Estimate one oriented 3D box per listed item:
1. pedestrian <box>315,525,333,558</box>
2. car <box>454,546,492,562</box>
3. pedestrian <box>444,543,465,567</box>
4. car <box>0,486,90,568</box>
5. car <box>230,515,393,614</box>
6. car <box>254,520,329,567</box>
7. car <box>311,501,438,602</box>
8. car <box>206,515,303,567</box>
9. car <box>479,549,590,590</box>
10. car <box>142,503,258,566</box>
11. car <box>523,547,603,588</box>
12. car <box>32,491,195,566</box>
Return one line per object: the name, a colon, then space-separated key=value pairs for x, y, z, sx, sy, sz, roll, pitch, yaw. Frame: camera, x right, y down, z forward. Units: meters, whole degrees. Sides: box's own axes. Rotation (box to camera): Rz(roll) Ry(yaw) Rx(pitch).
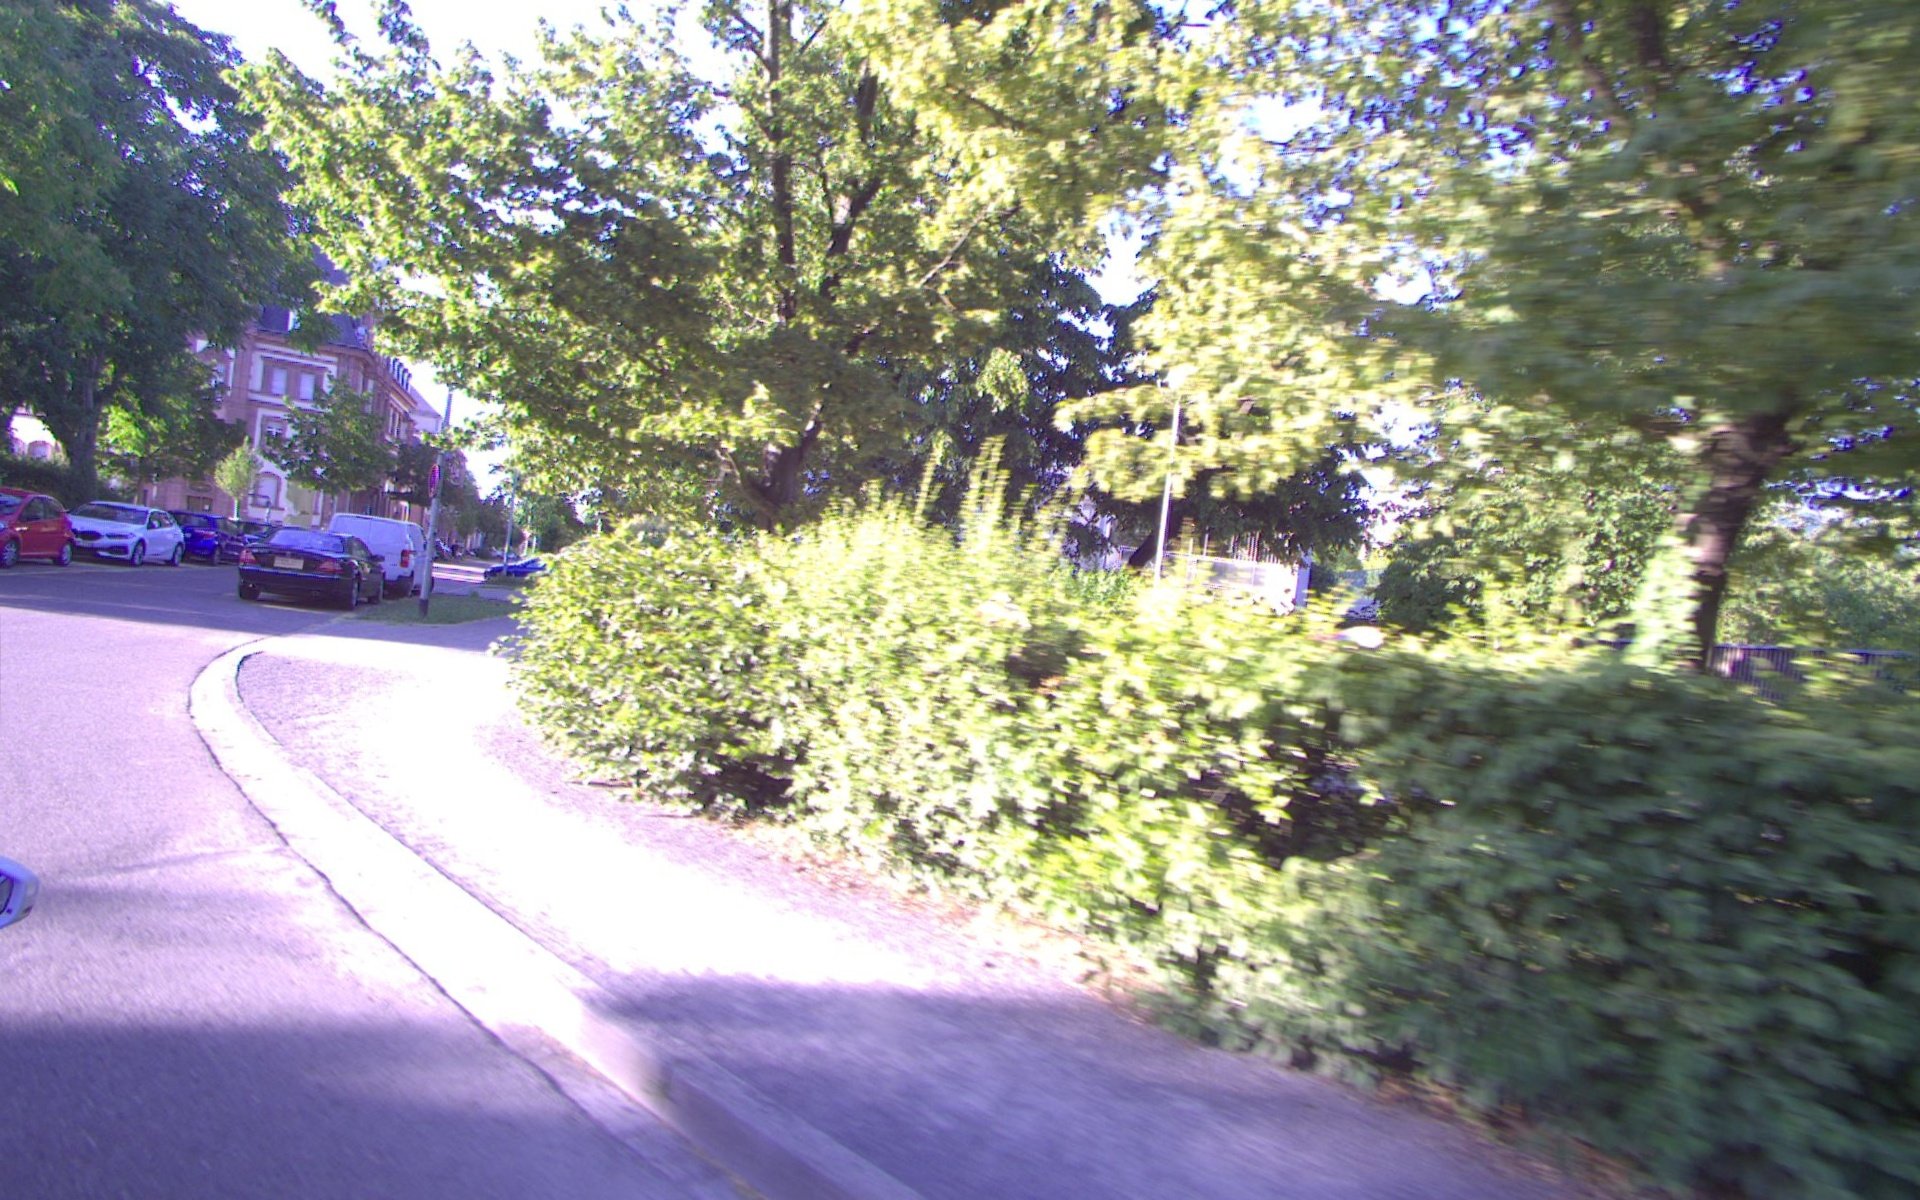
pedestrian: x=-36.923 y=-3.396 z=58.424 sx=0.593 sy=1.806 sz=0.940 roll=6 pitch=1 yaw=-25
car: x=-67.233 y=-6.371 z=138.900 sx=4.440 sy=1.627 sz=1.831 roll=8 pitch=0 yaw=-24
pedestrian: x=-42.360 y=-3.756 z=84.232 sx=0.987 sy=1.880 sz=1.060 roll=7 pitch=0 yaw=37
car: x=-18.585 y=-1.453 z=19.472 sx=1.373 sy=1.440 sz=3.410 roll=9 pitch=-1 yaw=-21
car: x=-12.551 y=-0.696 z=19.790 sx=1.748 sy=1.486 sz=4.839 roll=7 pitch=0 yaw=-23
car: x=-26.262 y=-2.186 z=39.632 sx=1.576 sy=1.545 sz=3.844 roll=7 pitch=0 yaw=-22
car: x=-14.581 y=-1.184 z=25.357 sx=1.933 sy=2.038 sz=5.125 roll=7 pitch=0 yaw=-23
car: x=-24.381 y=-1.992 z=34.913 sx=1.534 sy=1.513 sz=3.927 roll=7 pitch=0 yaw=-18
car: x=-19.559 y=-1.387 z=46.416 sx=4.537 sy=1.432 sz=1.914 roll=5 pitch=-1 yaw=-21
car: x=-22.674 y=-1.896 z=30.178 sx=1.622 sy=1.513 sz=3.687 roll=9 pitch=-1 yaw=-21
car: x=-20.414 y=-1.661 z=51.715 sx=3.469 sy=1.604 sz=1.747 roll=7 pitch=0 yaw=-32
car: x=-20.628 y=-1.686 z=24.716 sx=1.673 sy=1.422 sz=3.956 roll=9 pitch=-1 yaw=-21
